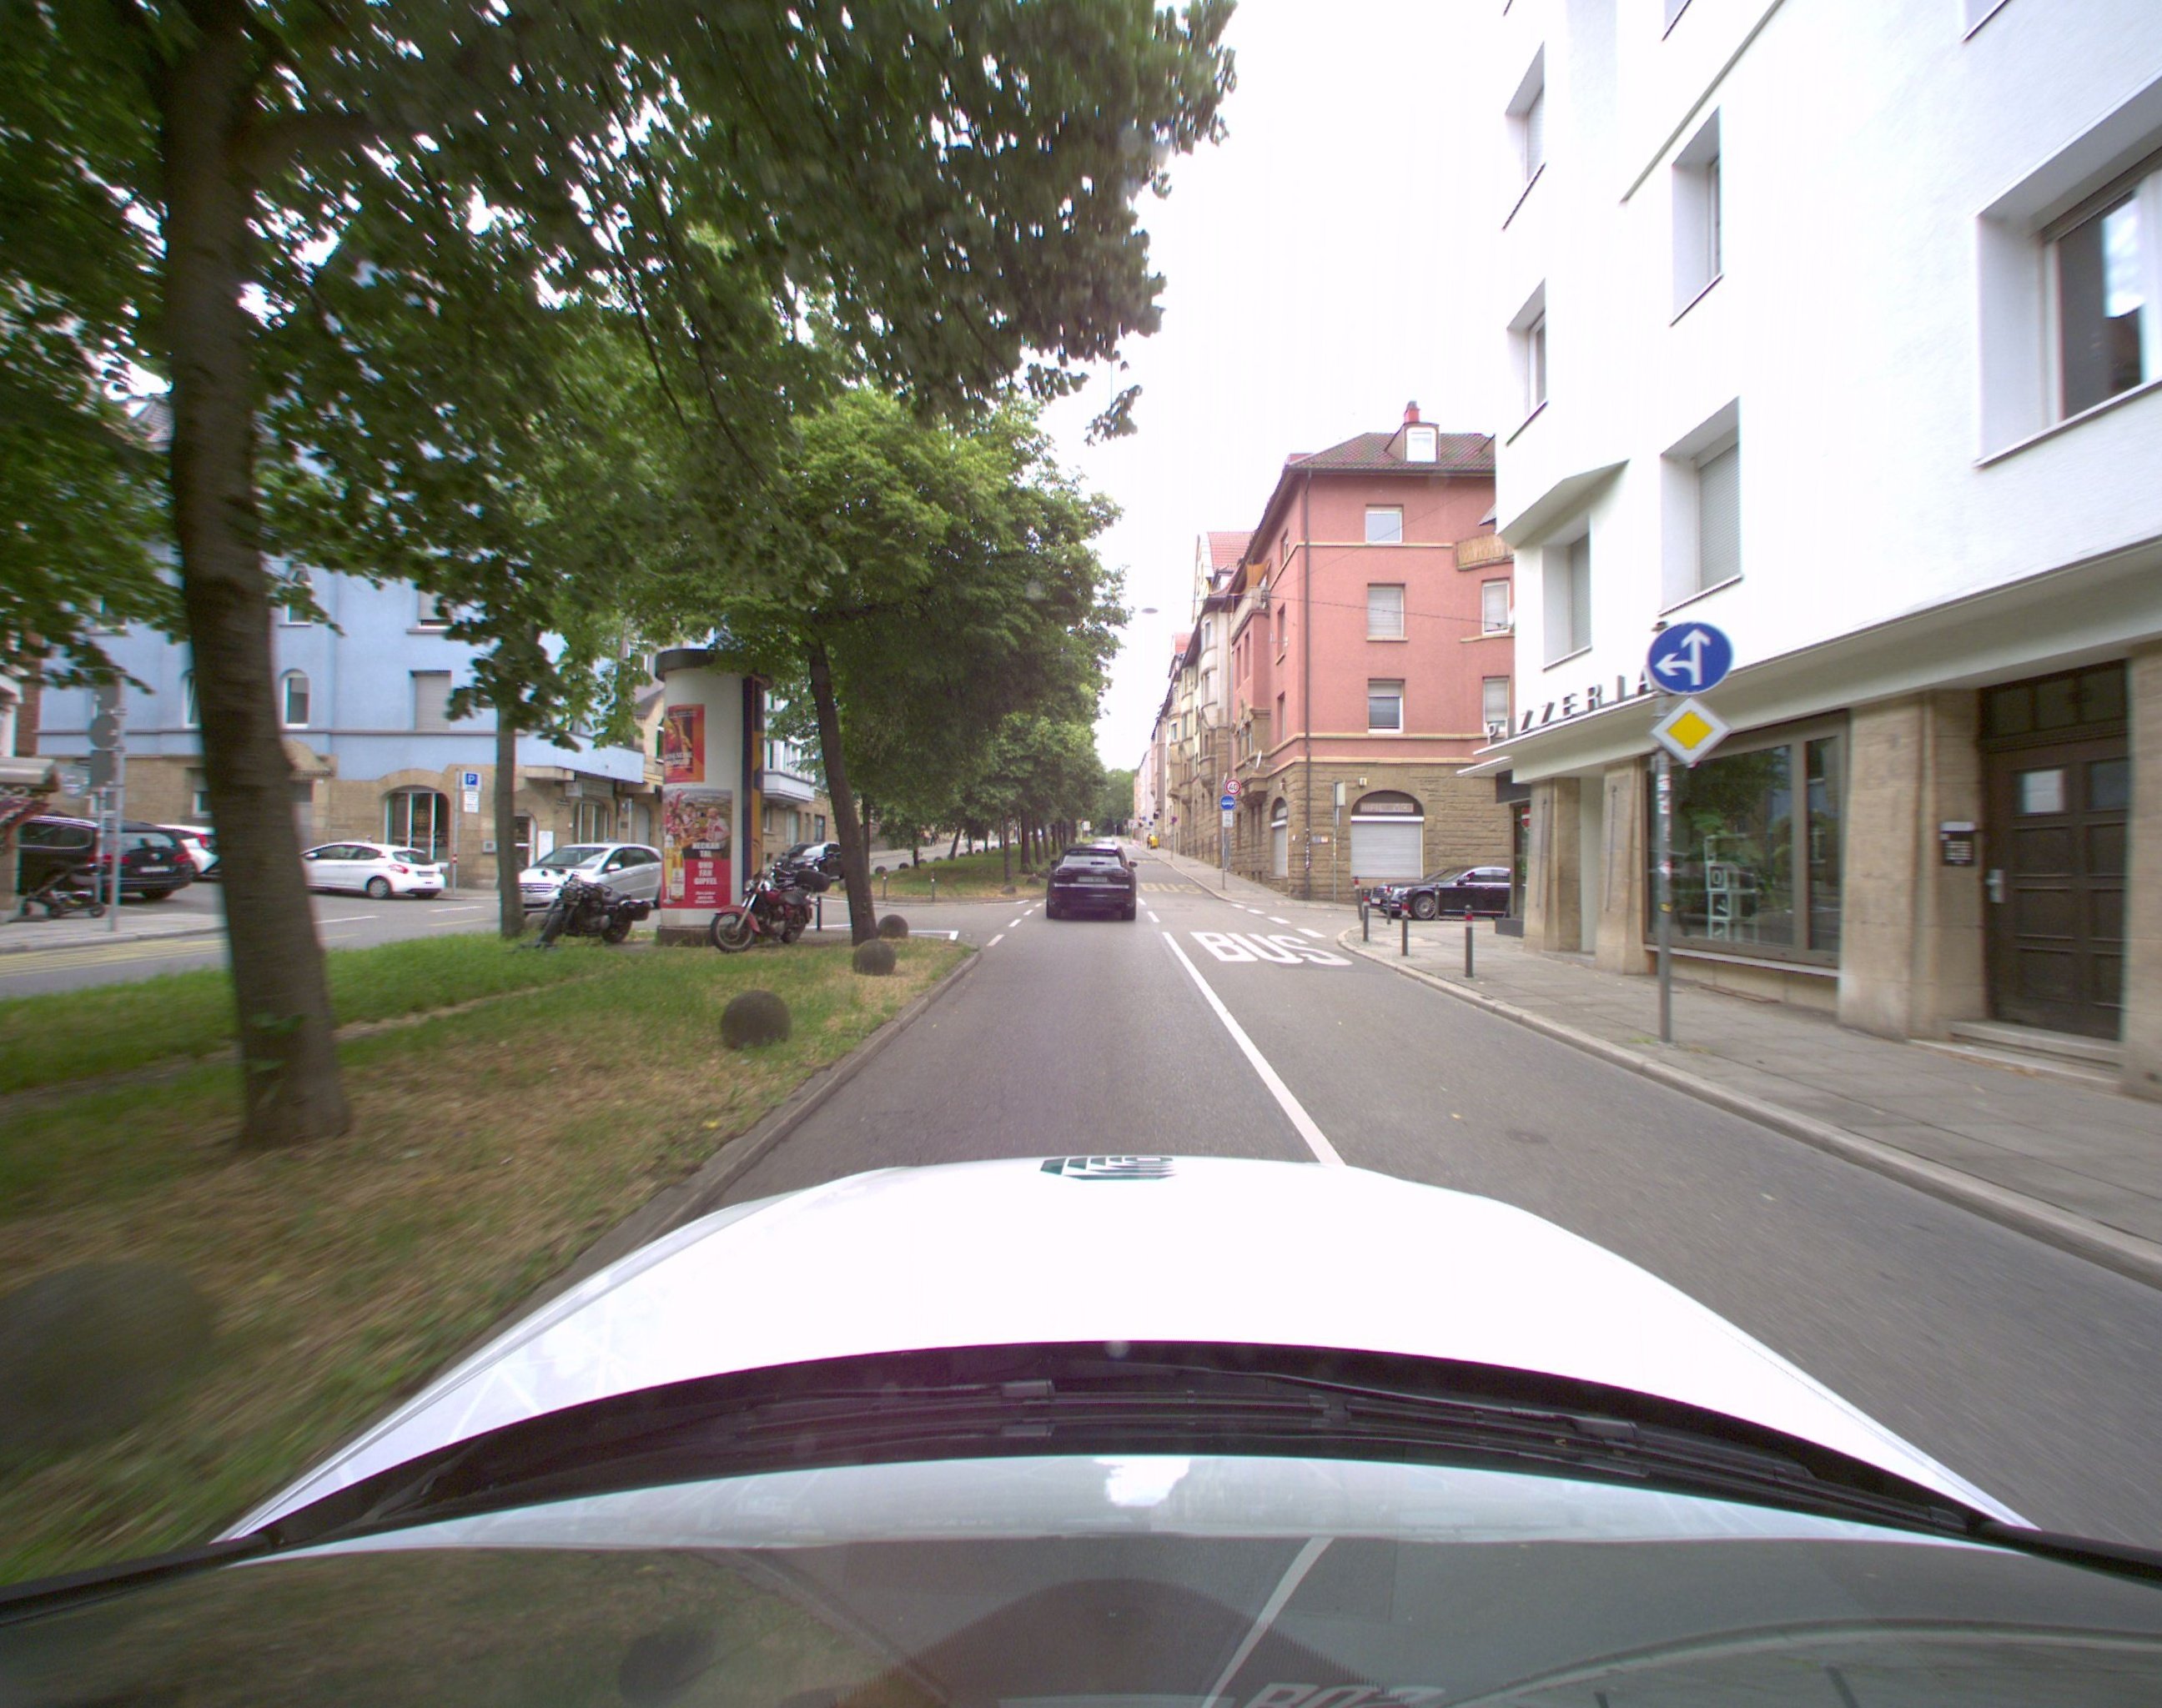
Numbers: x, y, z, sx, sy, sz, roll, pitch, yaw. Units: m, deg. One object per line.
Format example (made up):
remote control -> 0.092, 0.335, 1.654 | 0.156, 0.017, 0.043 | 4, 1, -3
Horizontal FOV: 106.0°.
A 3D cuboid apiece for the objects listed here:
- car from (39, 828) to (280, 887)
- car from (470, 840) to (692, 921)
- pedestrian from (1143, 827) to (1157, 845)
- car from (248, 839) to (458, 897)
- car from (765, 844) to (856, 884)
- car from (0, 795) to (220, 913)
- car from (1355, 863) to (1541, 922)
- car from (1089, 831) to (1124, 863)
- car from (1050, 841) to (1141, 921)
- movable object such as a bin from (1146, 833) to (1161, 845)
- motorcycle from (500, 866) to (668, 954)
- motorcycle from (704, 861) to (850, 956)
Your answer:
car -> -25.618, 0.073, 22.741 | 4.775, 1.577, 2.004 | 0, 1, 6
car -> -11.140, 0.496, 18.671 | 1.986, 1.624, 4.818 | 0, 1, 2
pedestrian -> 7.508, -1.953, 88.281 | 1.300, 2.013, 1.017 | 0, 0, -9
car -> -19.895, 0.356, 22.404 | 3.972, 1.497, 2.001 | 0, 1, 1
car -> -10.713, 0.340, 32.639 | 1.986, 1.483, 4.534 | 0, 1, 2
car -> -22.266, -0.077, 17.876 | 4.776, 2.052, 2.004 | 6, 2, 6
car -> 9.498, 0.953, 21.290 | 3.980, 1.376, 1.997 | -1, 0, -5
car -> 1.497, -0.387, 47.400 | 1.986, 1.753, 4.002 | 0, 0, 2
car -> 0.298, 0.562, 19.088 | 1.897, 1.666, 4.135 | 0, 0, 0
movable object such as a bin -> 7.724, -1.581, 86.880 | 1.237, 1.274, 1.841 | 0, 0, -9
motorcycle -> -6.848, 0.729, 11.408 | 0.897, 1.107, 2.252 | -1, -1, 2
motorcycle -> -4.183, 0.696, 11.494 | 1.058, 1.148, 2.449 | -1, 0, 2
